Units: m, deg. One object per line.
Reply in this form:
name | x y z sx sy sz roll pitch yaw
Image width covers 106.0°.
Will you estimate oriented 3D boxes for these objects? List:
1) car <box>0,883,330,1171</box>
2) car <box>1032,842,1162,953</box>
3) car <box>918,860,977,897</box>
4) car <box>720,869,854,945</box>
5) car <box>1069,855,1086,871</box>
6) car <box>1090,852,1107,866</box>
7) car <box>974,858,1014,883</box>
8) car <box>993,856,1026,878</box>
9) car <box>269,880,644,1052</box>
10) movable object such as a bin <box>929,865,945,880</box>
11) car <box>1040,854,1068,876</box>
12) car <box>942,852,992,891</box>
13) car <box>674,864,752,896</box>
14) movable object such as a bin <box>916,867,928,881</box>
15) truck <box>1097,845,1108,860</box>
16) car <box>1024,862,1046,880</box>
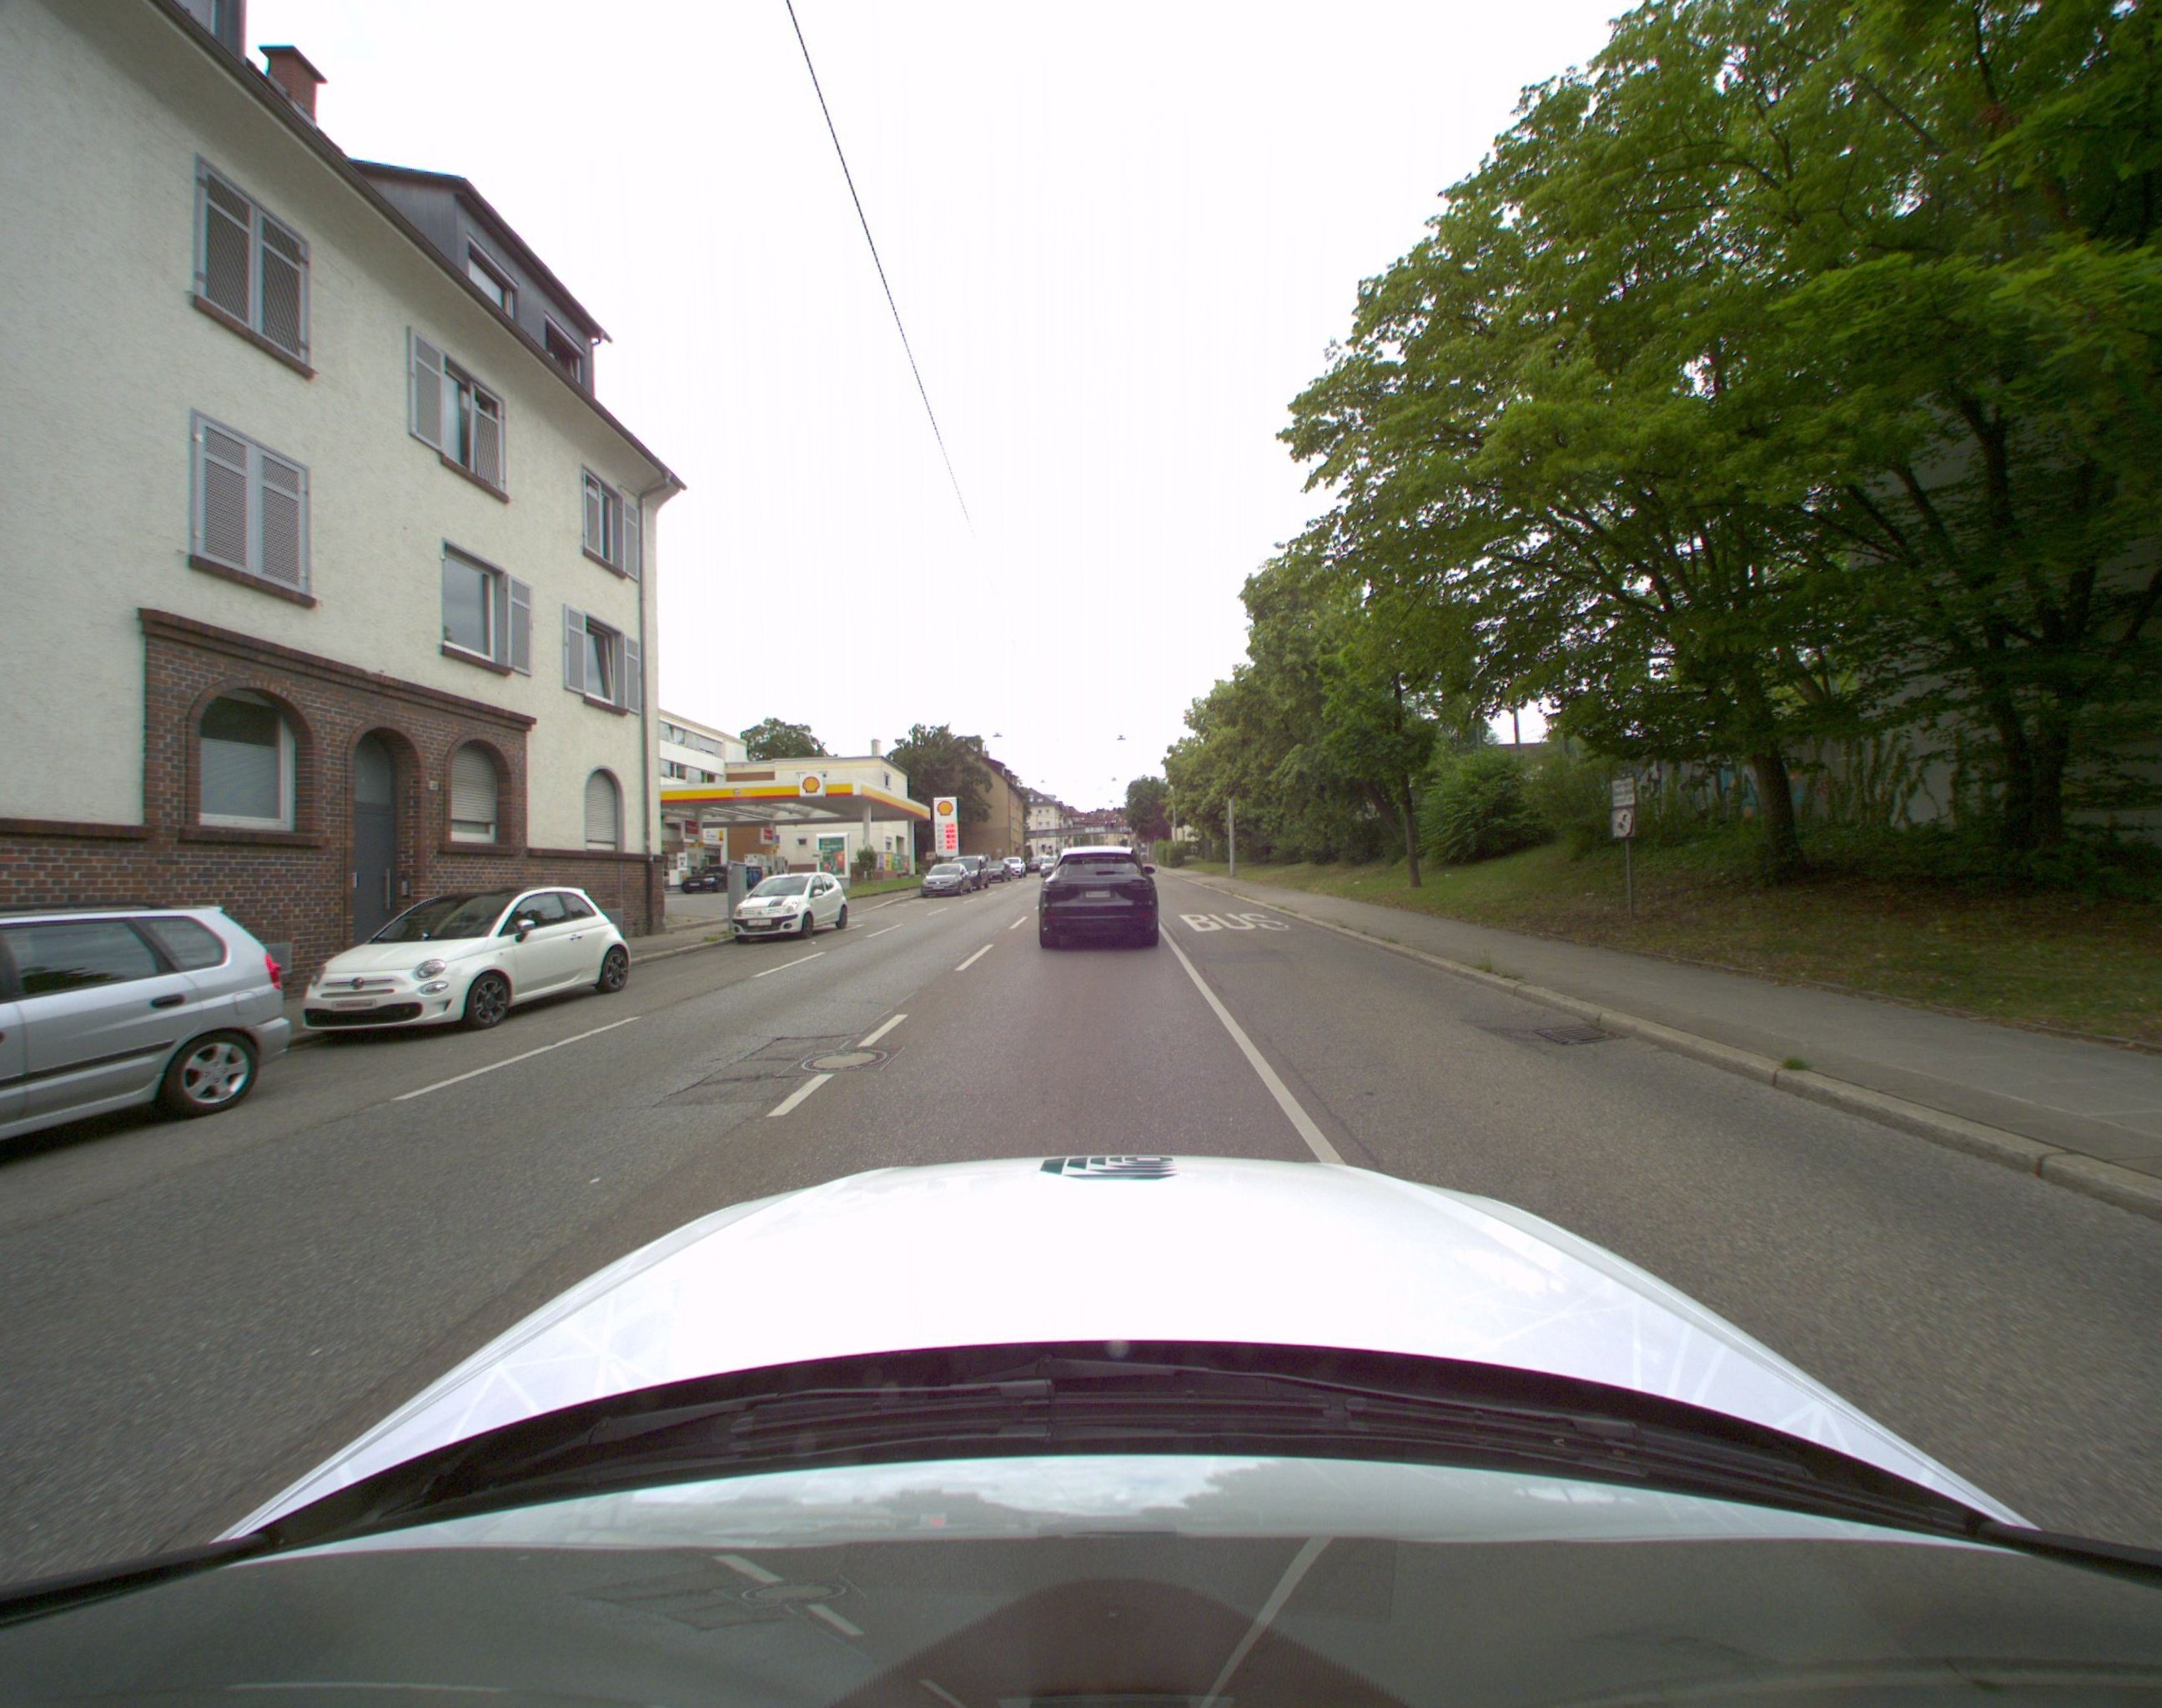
car | -7.003 1.078 4.517 1.721 1.558 4.082 -5 0 1
car | 0.321 0.659 14.657 1.986 1.662 4.002 -2 0 2
car | -6.003 1.074 37.132 1.784 1.450 4.220 -3 0 2
car | -6.707 1.154 19.016 1.613 1.425 3.667 -3 0 2
car | -0.354 0.974 85.819 1.677 1.555 3.719 -3 0 1
car | 1.986 0.538 91.512 1.734 1.400 4.002 -2 0 2
car | -5.707 1.063 54.054 1.790 1.431 4.748 -3 0 4
car | -5.496 0.968 63.400 1.908 1.577 4.702 -3 0 2
car | -7.020 1.145 9.690 1.542 1.475 3.605 -3 0 1
movable object such as a bin | -14.678 1.889 82.990 1.388 1.428 0.913 -1 0 -1
car | -2.011 0.806 61.115 1.791 1.525 4.001 -3 0 2
car | -5.902 0.864 42.654 1.845 1.835 4.701 -3 0 0
car | -18.601 1.275 41.373 1.791 1.420 4.418 -1 0 2
movable object such as a bin | -16.159 2.026 82.786 0.907 1.428 1.397 -1 0 -1
truck | 5.143 -0.389 193.530 2.258 3.424 9.881 -2 0 2
car | -4.770 1.747 85.169 1.776 1.609 4.267 -4 0 3
